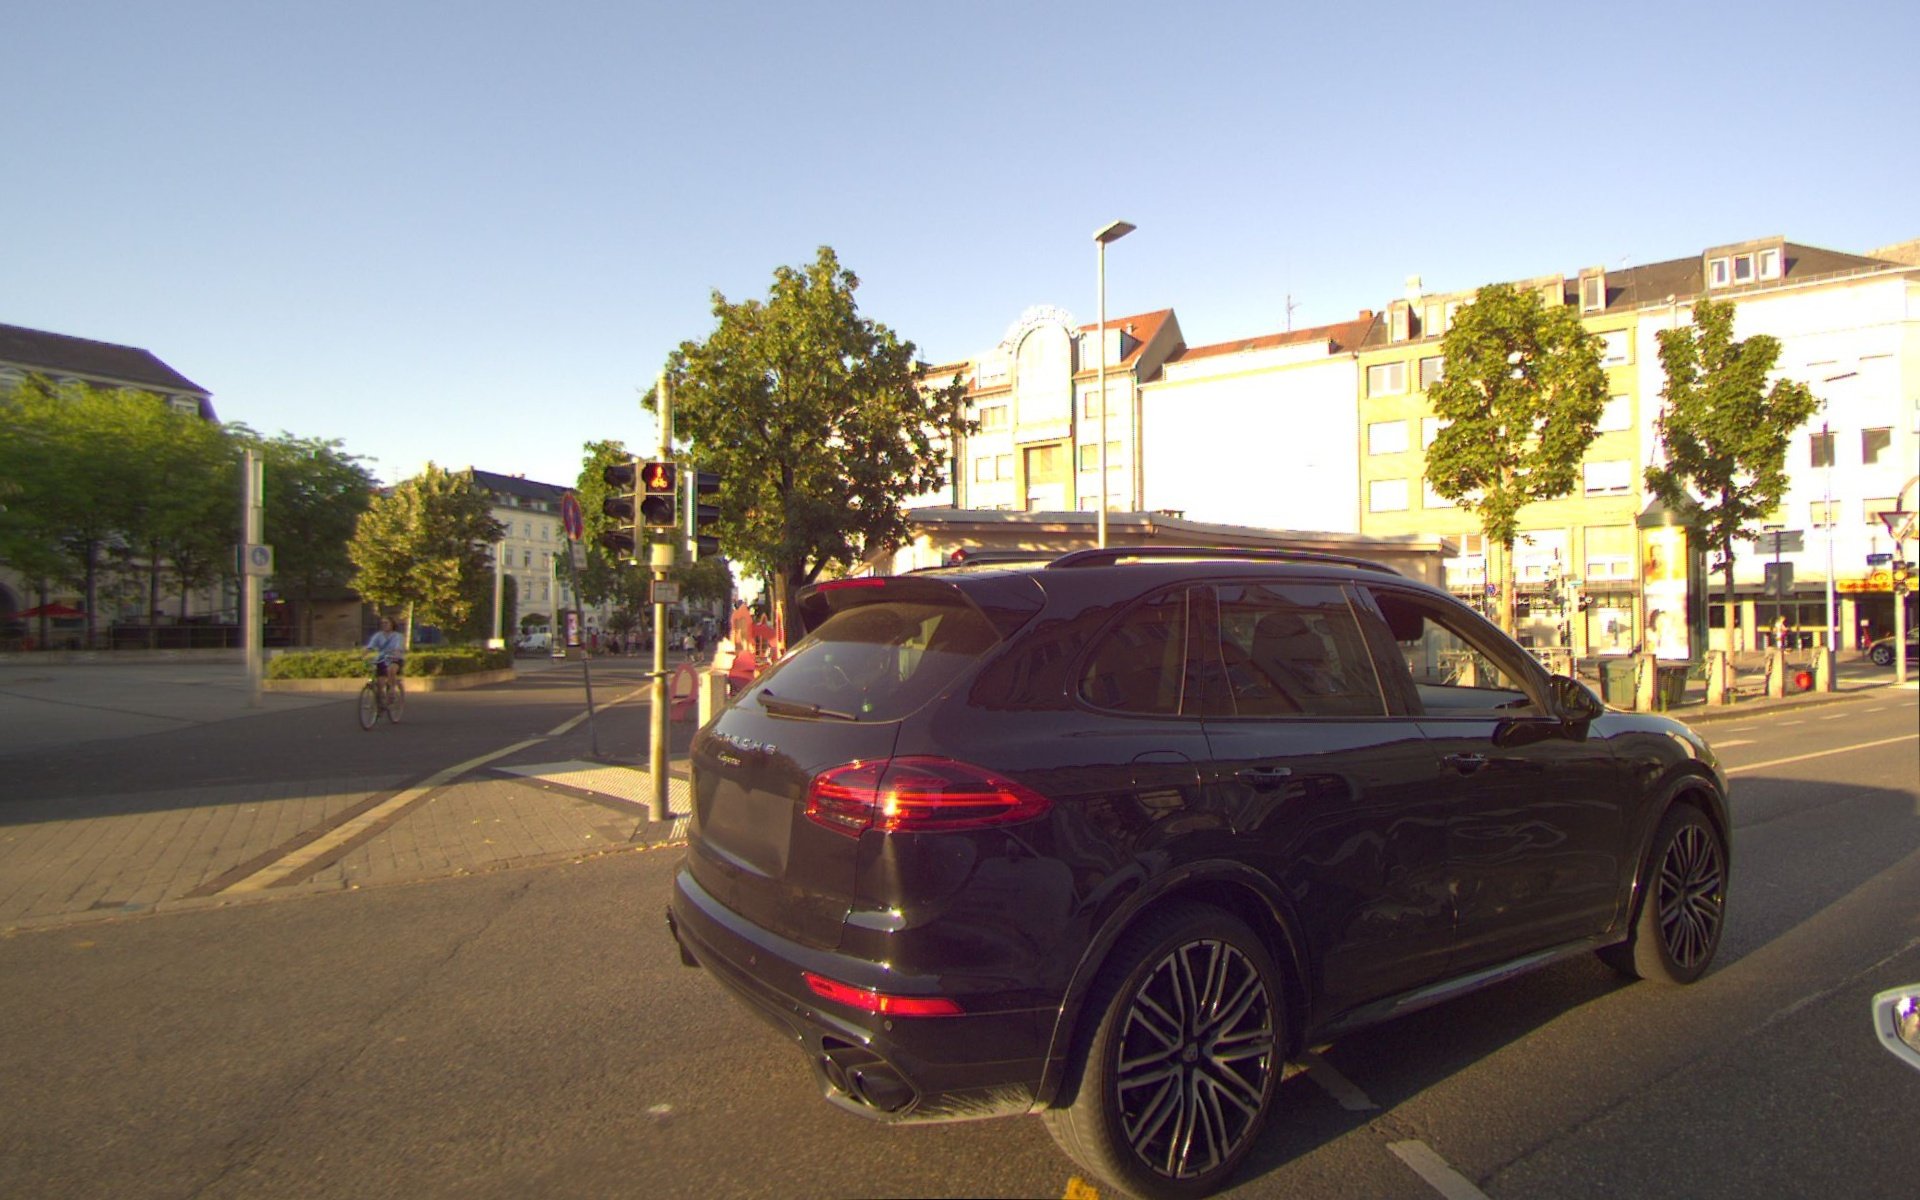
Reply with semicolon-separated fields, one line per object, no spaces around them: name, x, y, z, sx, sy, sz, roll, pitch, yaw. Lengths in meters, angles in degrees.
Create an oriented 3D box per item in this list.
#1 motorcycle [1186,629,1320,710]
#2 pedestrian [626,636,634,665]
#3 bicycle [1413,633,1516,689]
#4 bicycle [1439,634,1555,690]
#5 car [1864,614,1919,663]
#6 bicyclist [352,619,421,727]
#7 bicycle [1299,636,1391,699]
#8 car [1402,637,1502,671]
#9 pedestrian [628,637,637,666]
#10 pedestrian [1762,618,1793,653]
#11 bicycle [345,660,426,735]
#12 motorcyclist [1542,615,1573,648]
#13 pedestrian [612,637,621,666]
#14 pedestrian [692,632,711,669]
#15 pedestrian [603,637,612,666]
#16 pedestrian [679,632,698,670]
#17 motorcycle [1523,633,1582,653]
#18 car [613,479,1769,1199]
motorcycle;5.578;1.294;19.316;0.858;1.448;2.569;0;-2;-30
pedestrian;-23.565;3.626;71.713;0.563;2.040;0.393;0;-1;-22
bicycle;11.980;1.430;23.912;0.938;1.273;1.996;0;-2;-30
bicycle;13.040;1.484;24.485;0.778;1.273;2.432;0;-2;-30
car;32.170;1.235;32.532;1.841;1.616;4.451;-1;-1;1
bicyclist;-9.616;1.207;16.871;0.841;1.747;0.776;0;-2;-17
bicycle;8.165;1.416;21.382;0.625;1.273;1.845;0;-2;-30
car;22.809;2.477;46.615;3.933;1.505;1.994;-1;-1;34
pedestrian;-23.173;3.616;71.139;0.563;2.040;0.393;0;-1;-22
pedestrian;36.523;1.576;44.898;0.933;1.557;0.906;-1;-2;34
bicycle;-9.589;1.591;16.828;0.693;1.132;1.916;0;-2;-15
motorcyclist;24.419;1.297;41.088;0.976;1.337;0.767;-1;-1;24
pedestrian;-24.164;3.600;70.635;0.563;2.040;0.393;0;-1;-22
pedestrian;-14.478;2.837;56.204;0.650;2.040;0.809;0;-1;32
pedestrian;-24.805;3.595;70.620;0.563;2.040;0.393;0;-1;-22
pedestrian;-14.988;2.804;55.454;0.650;2.040;0.809;0;-1;34
motorcycle;24.276;1.750;41.191;1.994;0.791;0.663;-1;-1;23
car;1.166;0.678;4.025;4.513;1.736;1.937;0;-2;-34
